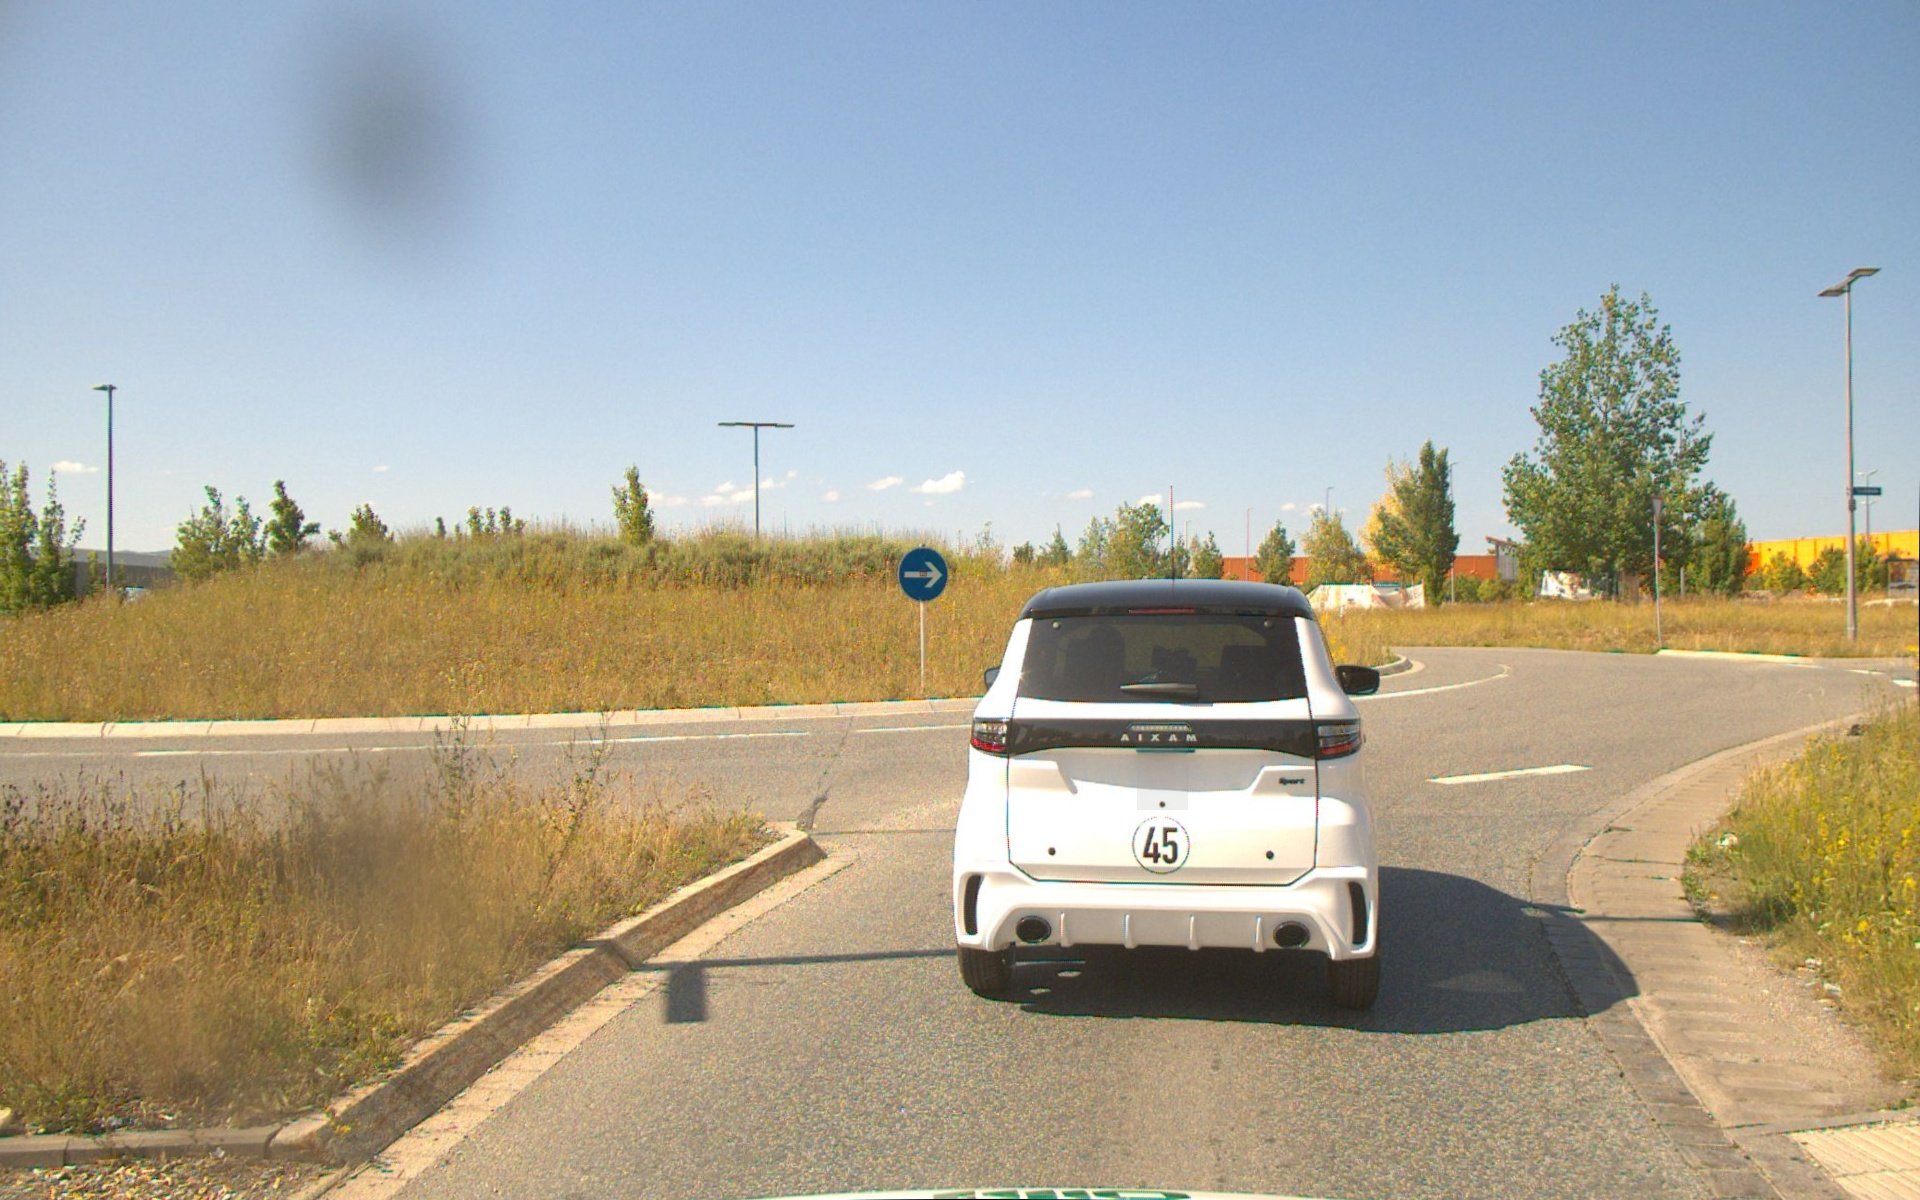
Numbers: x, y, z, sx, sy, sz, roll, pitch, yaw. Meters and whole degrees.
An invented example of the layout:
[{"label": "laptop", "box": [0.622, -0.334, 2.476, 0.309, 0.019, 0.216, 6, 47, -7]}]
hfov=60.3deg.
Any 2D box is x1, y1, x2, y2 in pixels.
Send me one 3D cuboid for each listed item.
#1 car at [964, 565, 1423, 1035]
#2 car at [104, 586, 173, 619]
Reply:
[{"label": "car", "box": [0.988, 0.606, 7.047, 1.477, 1.465, 3.354, 0, 2, 8]}, {"label": "car", "box": [-45.717, 0.147, 92.127, 1.954, 1.762, 3.997, -1, -1, -3]}]
